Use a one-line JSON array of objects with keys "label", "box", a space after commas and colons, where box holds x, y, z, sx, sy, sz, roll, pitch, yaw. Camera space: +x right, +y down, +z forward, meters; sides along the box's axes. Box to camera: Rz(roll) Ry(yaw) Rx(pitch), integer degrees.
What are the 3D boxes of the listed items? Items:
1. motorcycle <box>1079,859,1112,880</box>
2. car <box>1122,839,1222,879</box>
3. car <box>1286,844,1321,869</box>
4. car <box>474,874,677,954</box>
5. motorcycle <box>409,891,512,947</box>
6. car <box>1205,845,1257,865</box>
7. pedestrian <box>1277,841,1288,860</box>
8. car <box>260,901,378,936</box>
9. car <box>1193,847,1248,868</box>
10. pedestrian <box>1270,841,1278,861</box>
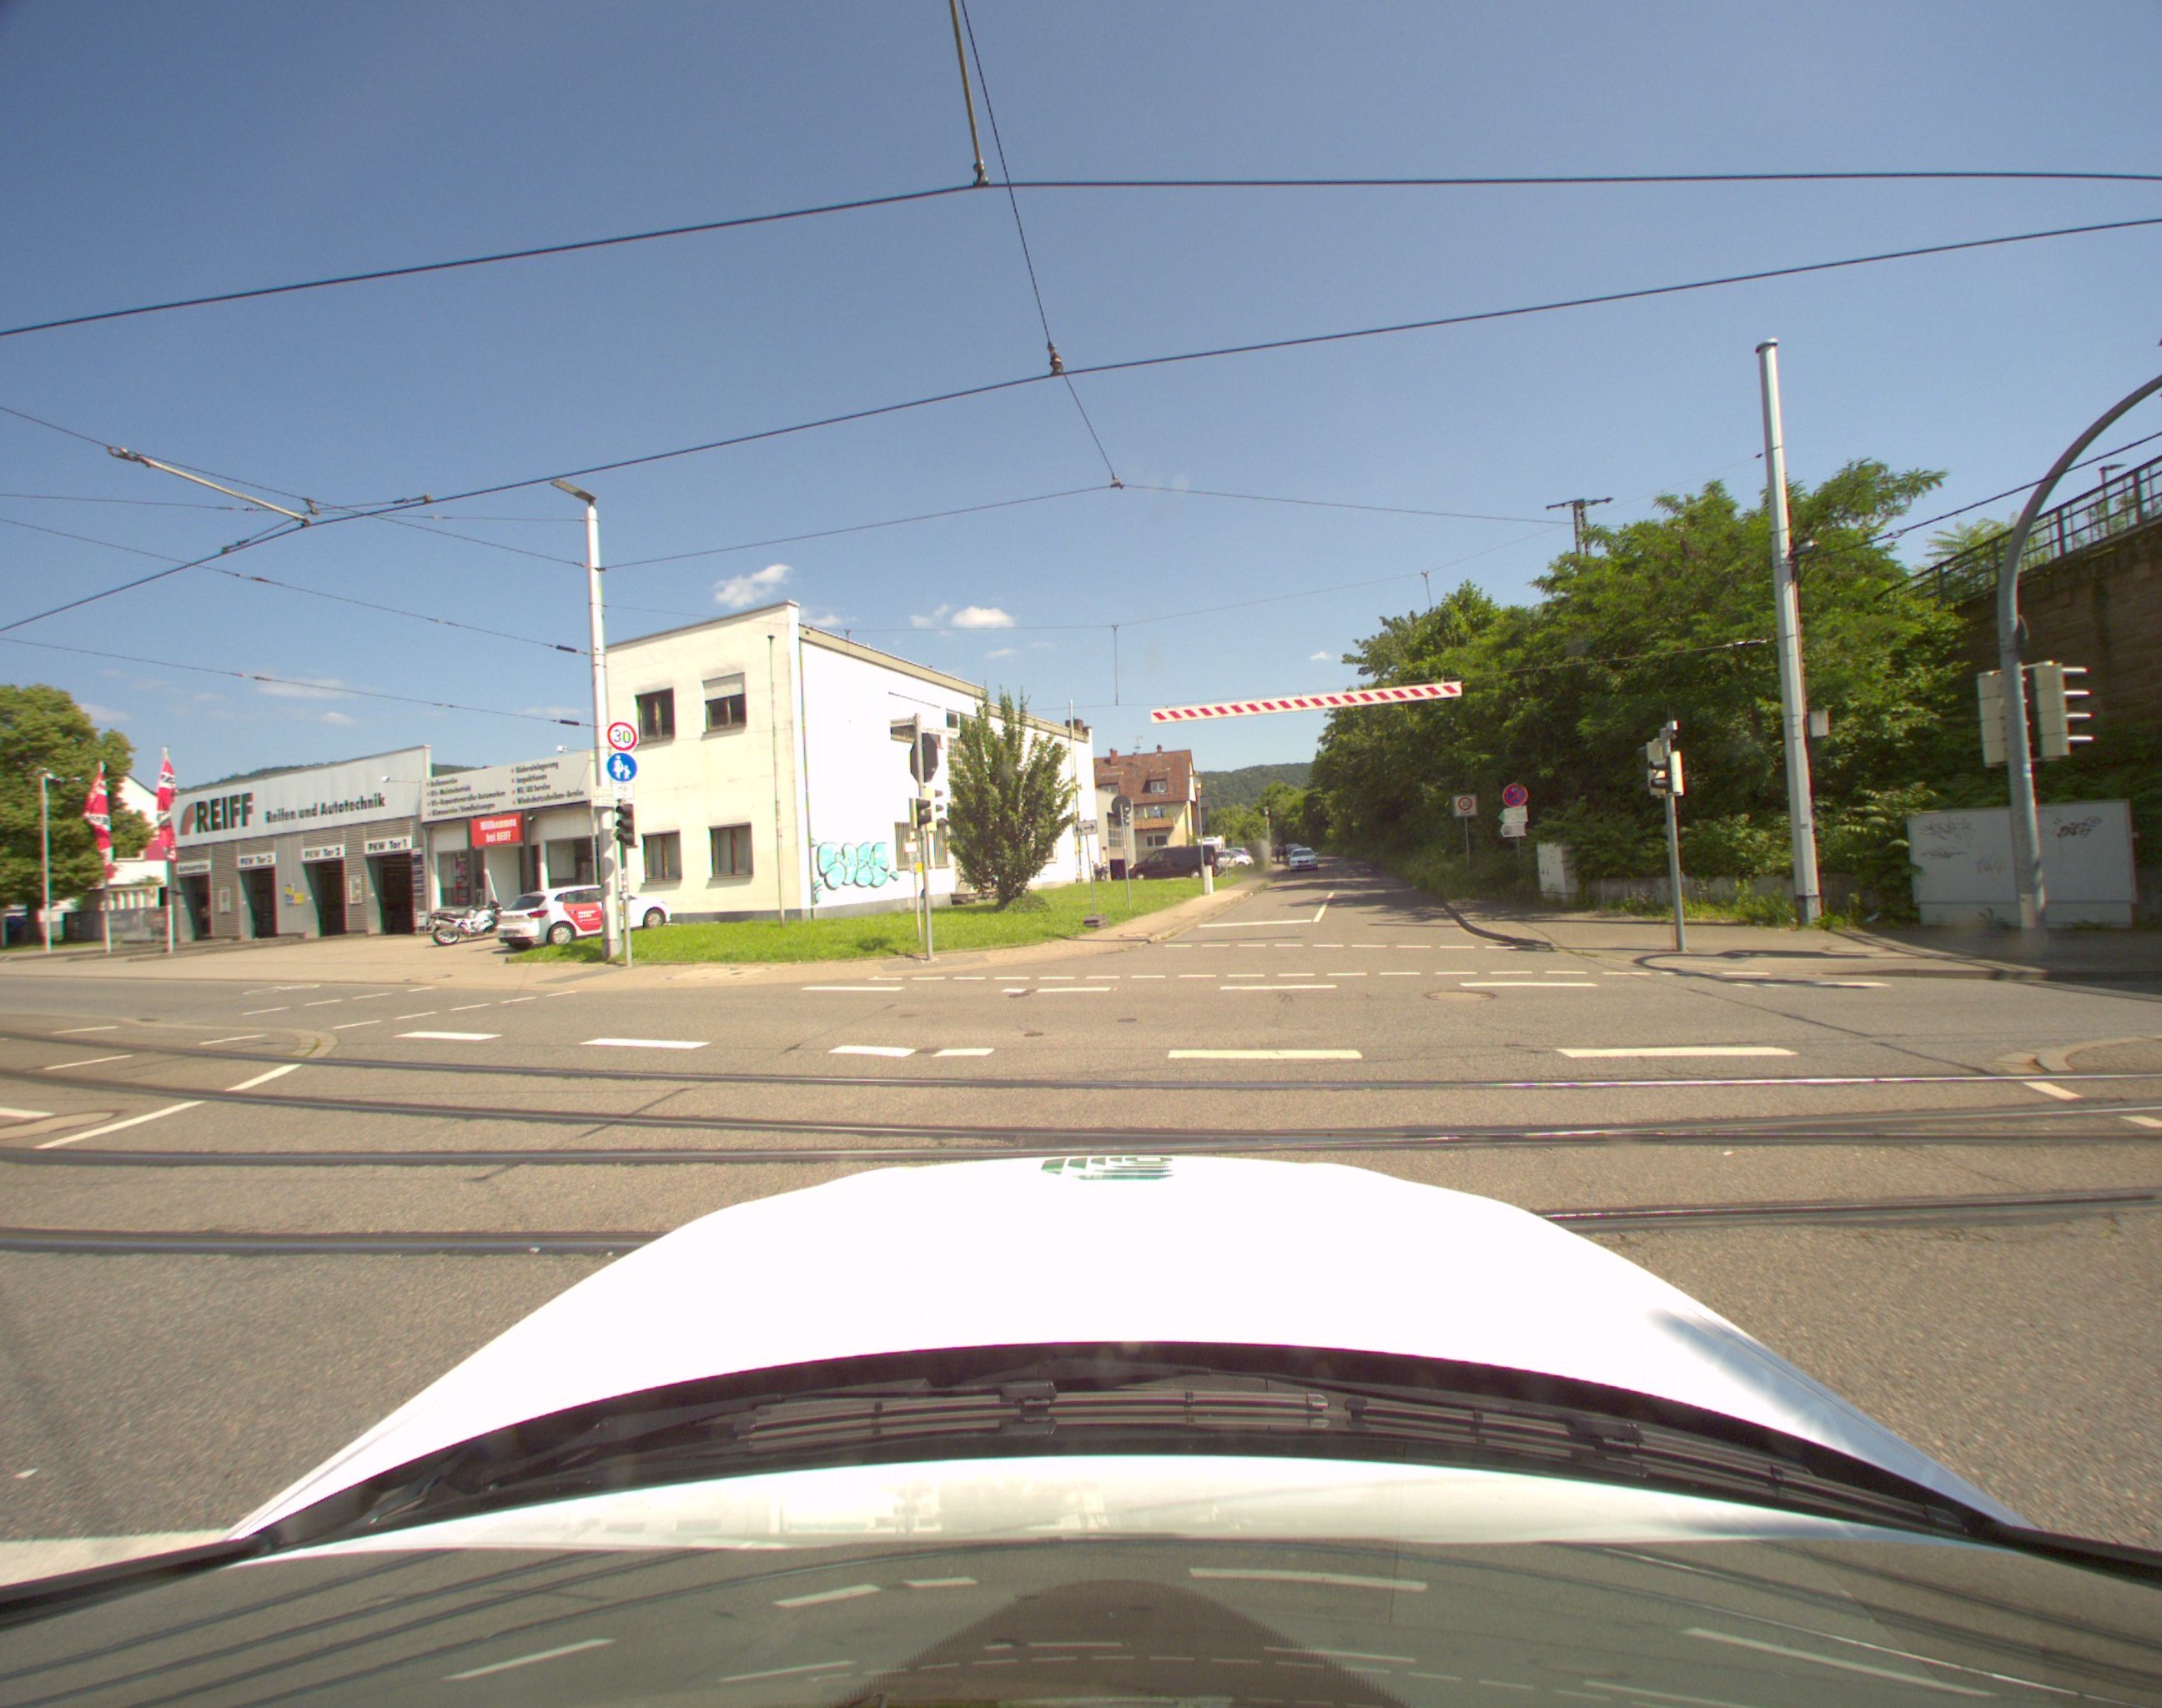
[{"label": "motorcycle", "box": [0.745, 0.801, 41.633, 0.844, 1.032, 2.580, -2, -2, 20]}, {"label": "car", "box": [5.102, 0.288, 45.690, 5.208, 1.816, 2.008, -4, -1, 15]}, {"label": "car", "box": [14.778, 0.135, 53.975, 2.070, 1.510, 4.560, -2, 0, 17]}, {"label": "car", "box": [-12.919, 1.487, 21.112, 1.867, 1.462, 4.023, -4, 3, 23]}, {"label": "motorcycle", "box": [-17.959, 1.871, 23.654, 0.722, 1.308, 2.203, -4, 2, 23]}, {"label": "car", "box": [11.322, 0.086, 61.459, 3.690, 1.371, 1.612, -2, -1, 18]}, {"label": "pedestrian", "box": [18.304, -0.315, 73.864, 0.869, 1.763, 0.734, -2, -2, 16]}, {"label": "car", "box": [-37.221, 3.113, 39.888, 1.705, 1.376, 3.793, -3, -1, 20]}, {"label": "car", "box": [10.116, 0.258, 58.951, 3.690, 1.372, 1.612, -2, -2, 18]}, {"label": "pedestrian", "box": [17.535, -0.290, 74.081, 0.649, 1.763, 0.807, -2, -2, 16]}]
